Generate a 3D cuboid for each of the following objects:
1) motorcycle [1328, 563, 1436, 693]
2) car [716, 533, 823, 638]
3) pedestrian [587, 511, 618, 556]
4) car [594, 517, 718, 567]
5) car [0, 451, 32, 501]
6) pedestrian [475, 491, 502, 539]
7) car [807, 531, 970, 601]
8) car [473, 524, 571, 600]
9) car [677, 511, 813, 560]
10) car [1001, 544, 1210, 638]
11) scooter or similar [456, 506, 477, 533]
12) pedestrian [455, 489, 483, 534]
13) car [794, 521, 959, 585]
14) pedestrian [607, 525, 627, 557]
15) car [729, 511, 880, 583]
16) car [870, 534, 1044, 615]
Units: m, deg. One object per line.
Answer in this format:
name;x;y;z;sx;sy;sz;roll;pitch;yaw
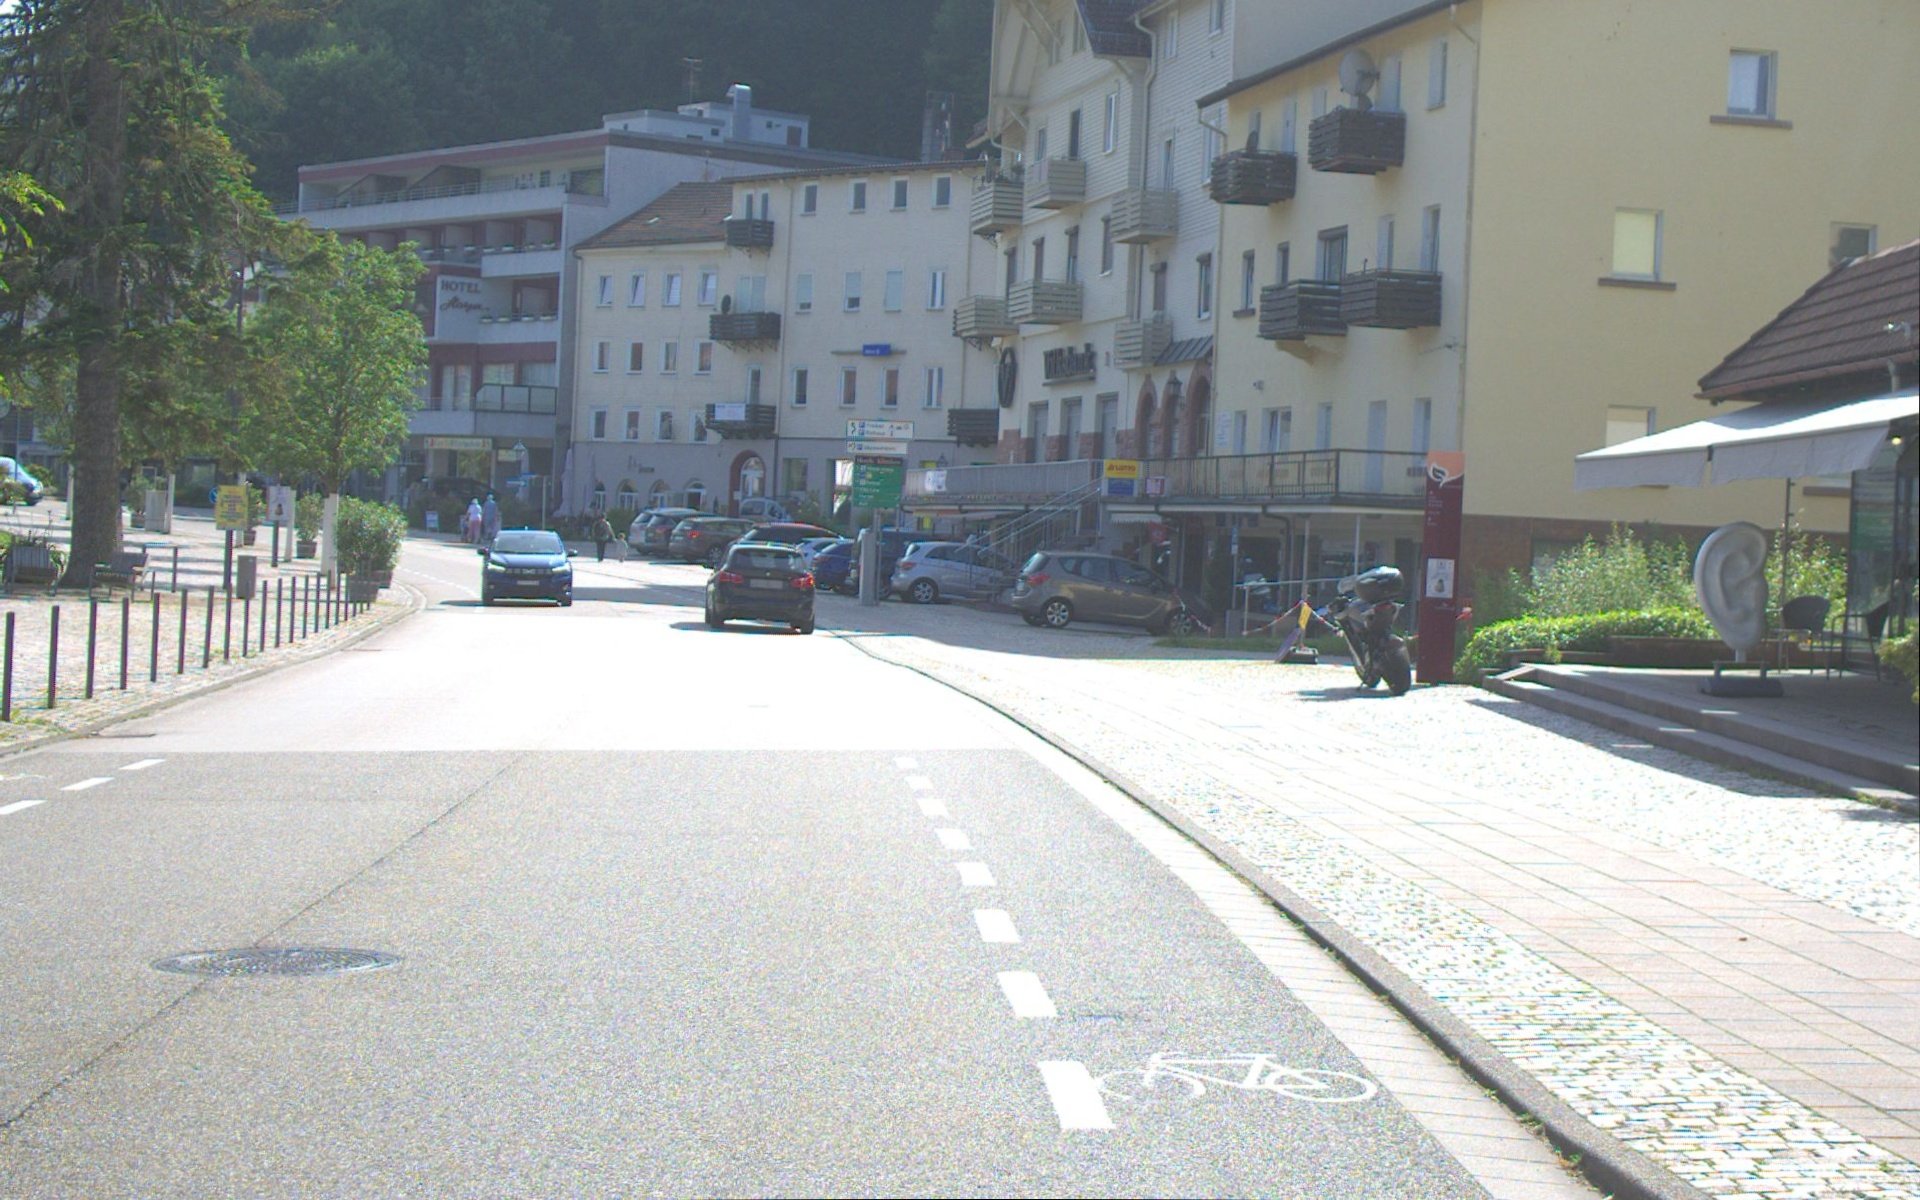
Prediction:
motorcycle;4.383;0.268;35.810;0.697;1.292;2.212;0;1;-4
car;-3.399;-0.281;60.809;1.727;1.569;3.754;4;3;-4
pedestrian;-11.520;-2.144;110.858;0.735;1.437;0.633;0;3;-36
car;-10.467;-2.009;118.348;3.861;1.607;1.773;-1;4;-30
car;-39.678;-5.046;138.579;5.013;1.946;1.856;3;2;40
pedestrian;-17.541;-3.169;127.985;0.669;1.722;0.707;3;1;-33
car;-1.882;-0.892;89.792;3.908;1.456;1.736;5;1;-10
car;-8.725;-0.785;68.768;1.741;1.457;4.188;1;1;-5
car;-6.994;-2.107;111.886;4.009;1.511;1.773;-1;4;-30
car;2.984;-0.183;70.893;3.858;1.549;1.761;5;1;-13
scooter or similar;-18.196;-2.954;126.786;0.596;0.947;0.474;3;1;-33
pedestrian;-18.082;-3.248;126.631;0.757;1.588;0.628;3;1;-33
car;-2.350;-1.301;96.178;4.355;1.456;1.773;4;0;-8
pedestrian;-11.084;-1.908;111.180;0.417;0.998;0.531;0;2;-33
car;-4.575;-1.567;100.889;4.083;1.660;1.773;6;1;-10
car;-0.090;-0.641;84.459;3.908;1.583;1.775;5;1;-10
